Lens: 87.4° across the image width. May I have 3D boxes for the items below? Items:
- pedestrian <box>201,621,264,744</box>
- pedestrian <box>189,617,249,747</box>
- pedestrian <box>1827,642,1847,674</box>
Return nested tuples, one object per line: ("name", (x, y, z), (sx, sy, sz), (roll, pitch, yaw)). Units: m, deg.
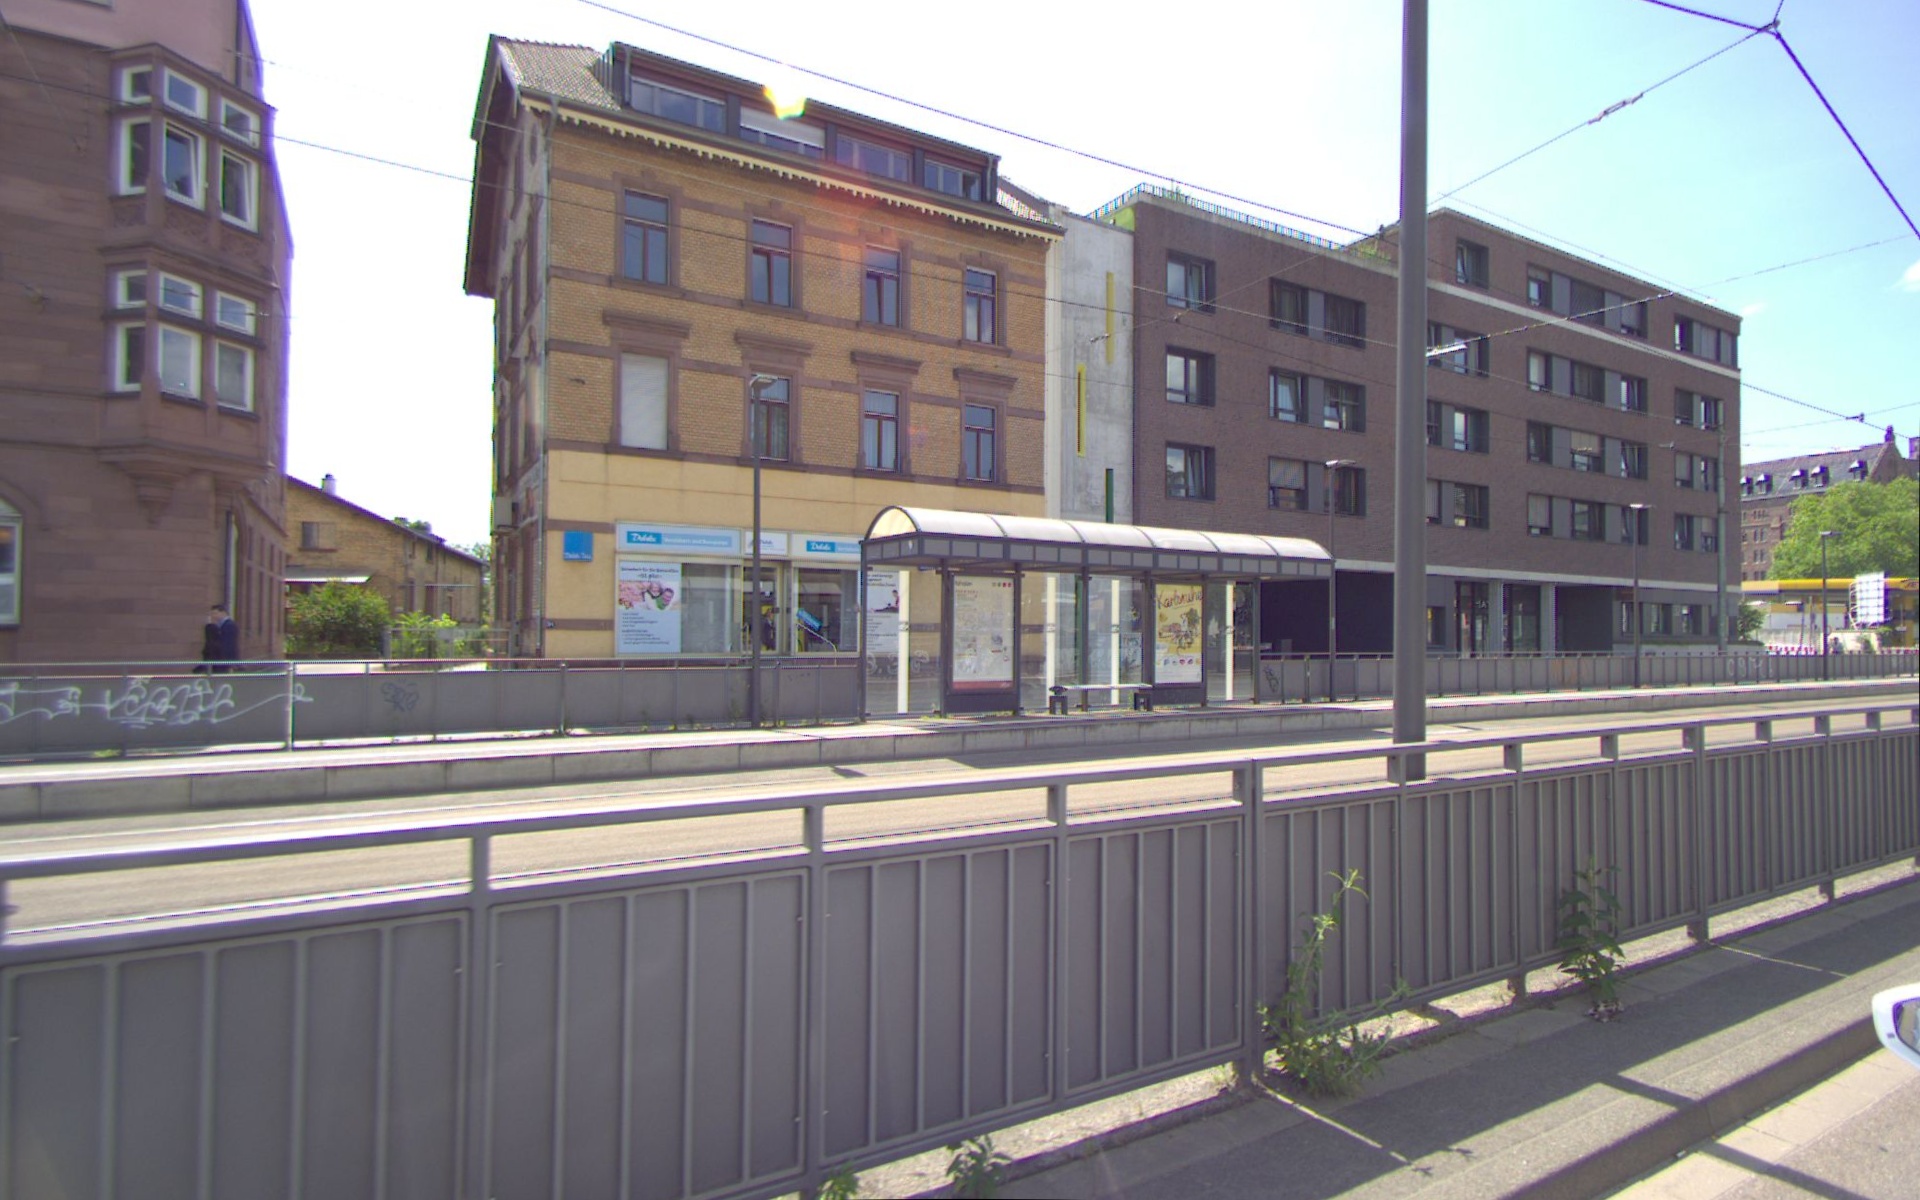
("pedestrian", (-12.397, 1.388, 17.142), (0.801, 2.040, 0.614), (1, -3, -33))
("pedestrian", (-11.944, 1.302, 16.214), (0.677, 2.040, 0.673), (1, -2, -33))
("pedestrian", (38.606, 2.562, 44.221), (0.530, 1.402, 0.433), (1, -5, -31))
